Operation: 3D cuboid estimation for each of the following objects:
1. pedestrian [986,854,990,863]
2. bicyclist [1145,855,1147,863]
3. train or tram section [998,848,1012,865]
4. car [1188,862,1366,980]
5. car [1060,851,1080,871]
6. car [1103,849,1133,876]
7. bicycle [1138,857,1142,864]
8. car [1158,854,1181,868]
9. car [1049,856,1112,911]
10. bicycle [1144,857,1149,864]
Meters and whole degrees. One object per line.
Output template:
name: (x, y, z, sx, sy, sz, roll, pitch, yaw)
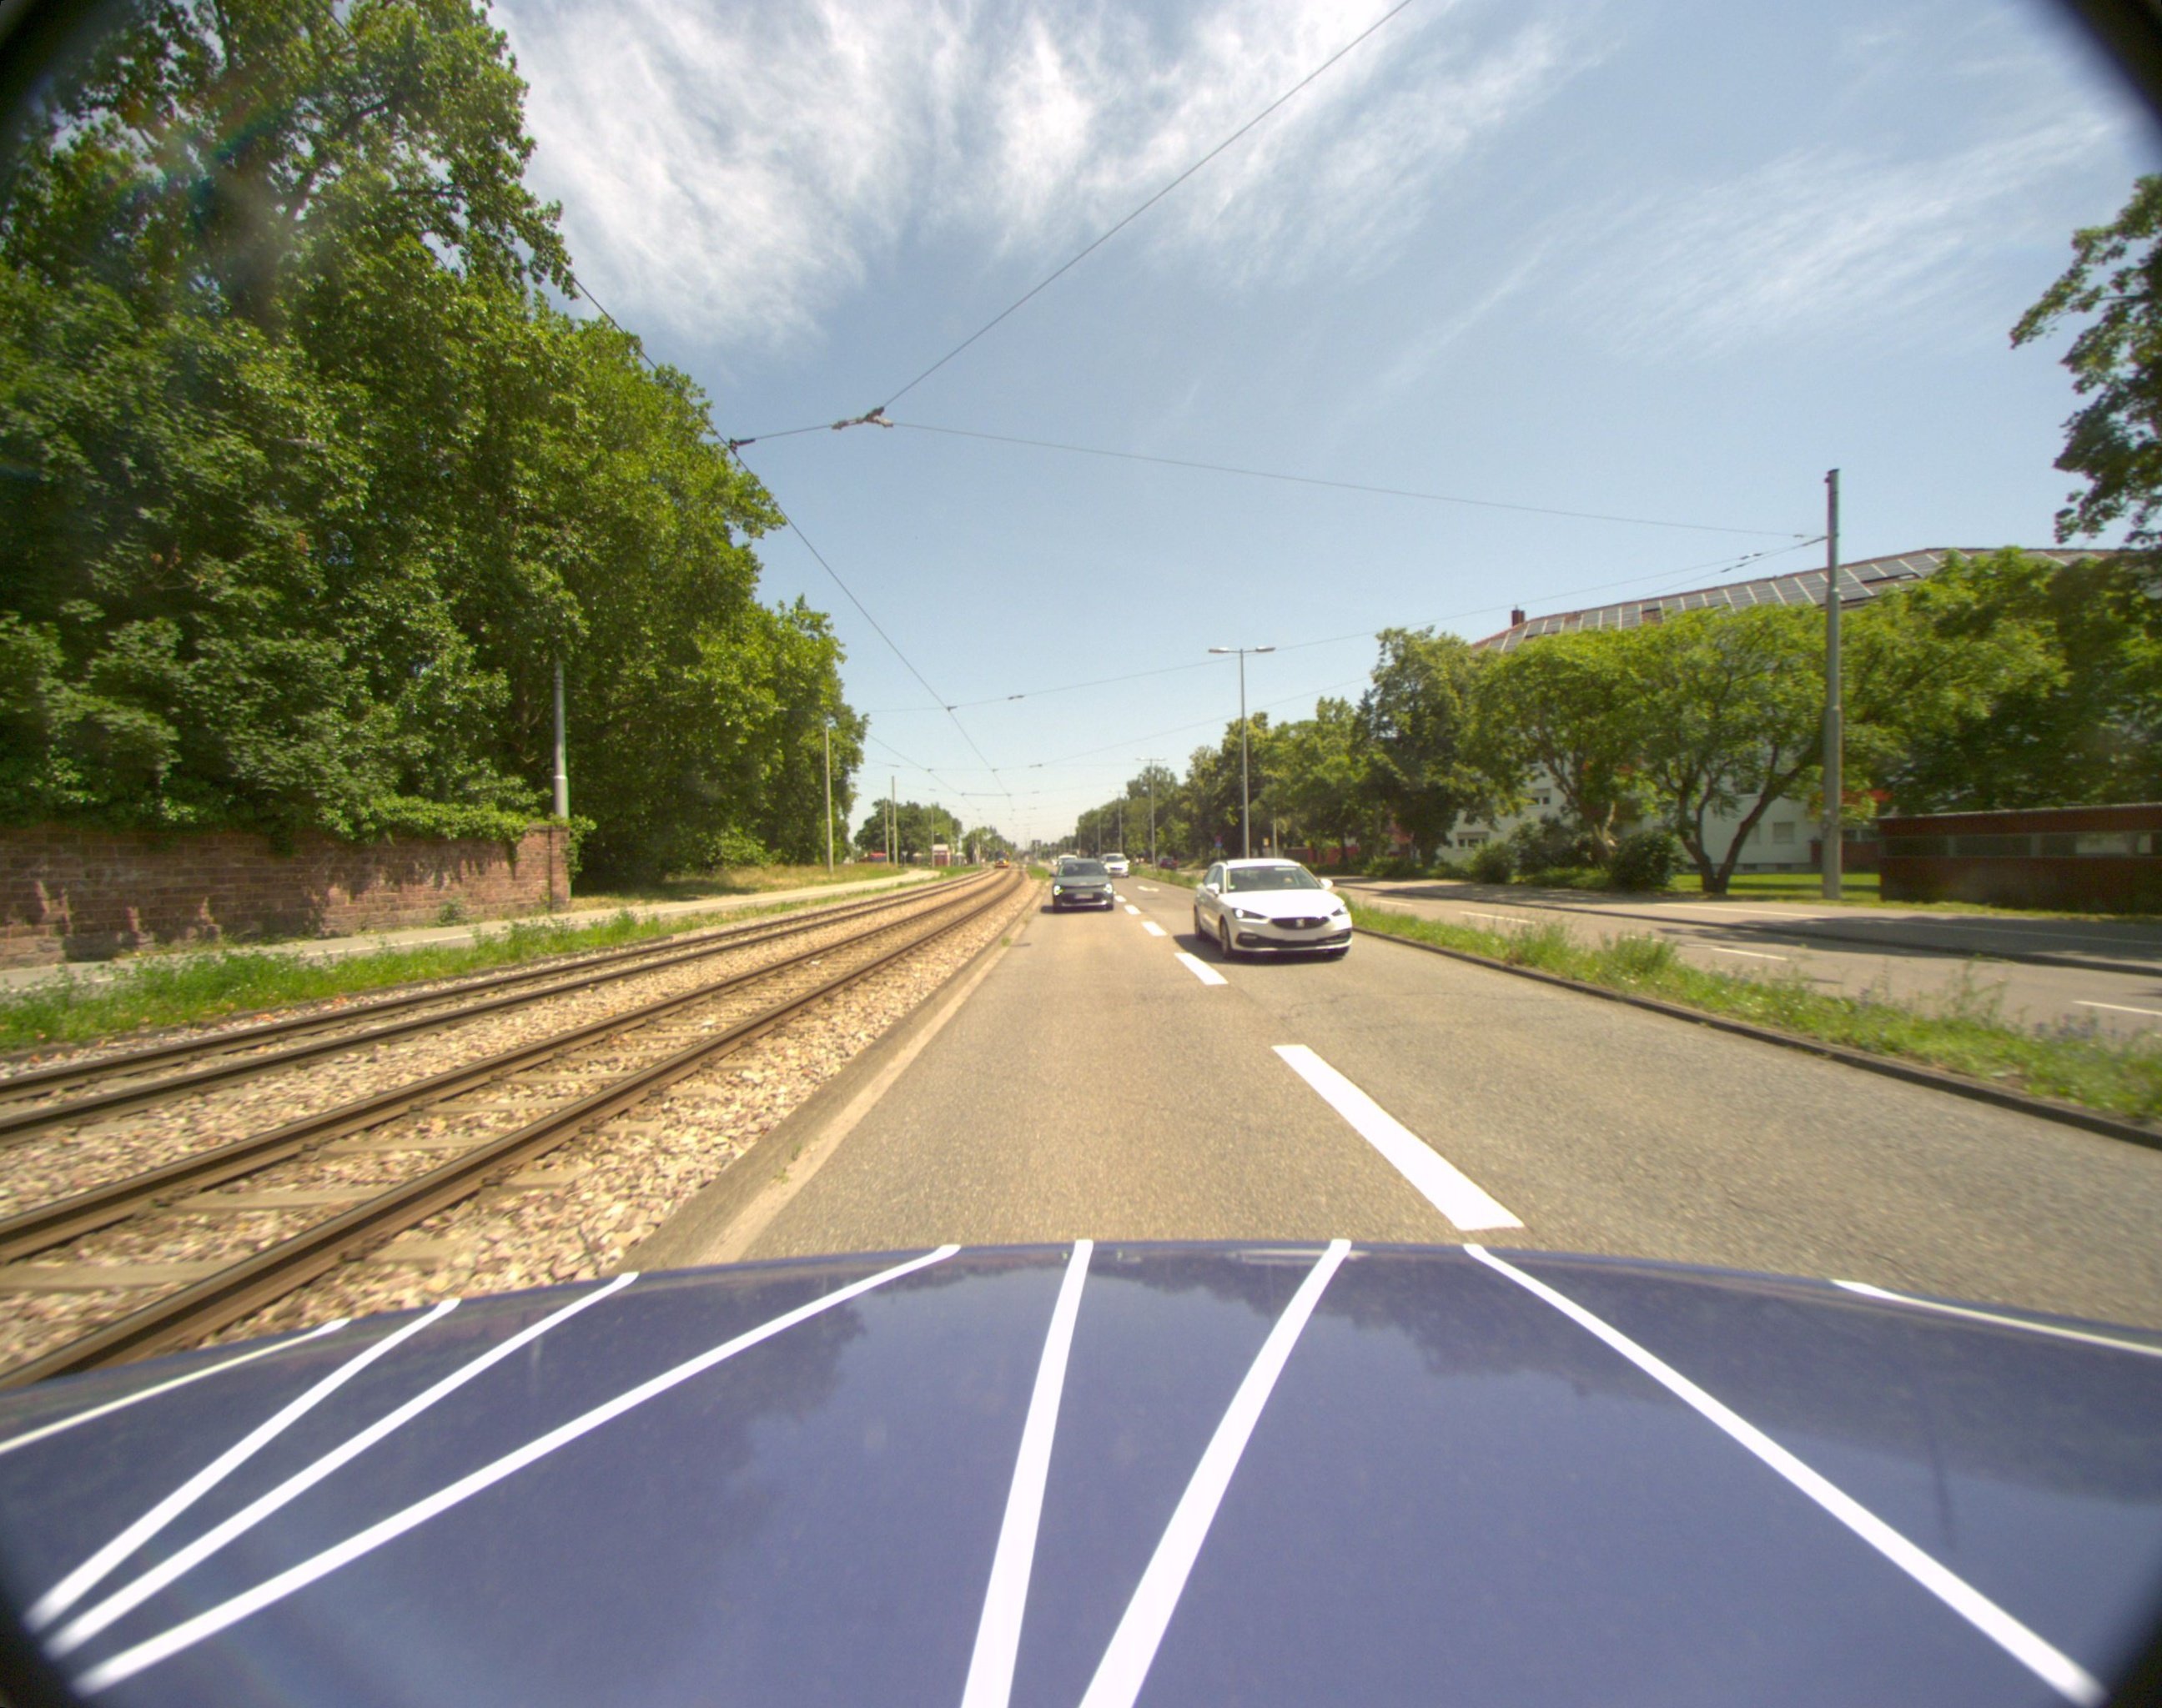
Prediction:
pedestrian: (-17.410, 0.812, 142.003, 0.637, 1.749, 0.815, -3, 1, -17)
bicyclist: (11.692, 0.905, 136.628, 0.358, 1.384, 0.440, -2, 0, -1)
train or tram section: (-15.687, 0.577, 156.653, 2.525, 3.303, 7.258, -1, 0, -3)
car: (2.906, 0.914, 12.195, 1.772, 1.460, 4.111, -2, 0, 1)
car: (-1.164, 0.699, 77.228, 1.921, 2.002, 3.999, -1, 0, -2)
car: (2.789, 0.614, 58.119, 1.999, 2.002, 3.999, -1, 0, -2)
bicycle: (10.599, 1.187, 136.462, 0.590, 1.126, 1.615, -1, 0, -4)
car: (10.090, 0.771, 86.802, 1.928, 1.616, 4.755, 0, 0, -2)
car: (-0.072, 0.849, 23.719, 1.788, 1.554, 4.134, -1, 0, -2)
bicycle: (11.718, 1.132, 136.261, 0.555, 1.088, 1.379, -2, 1, -2)
